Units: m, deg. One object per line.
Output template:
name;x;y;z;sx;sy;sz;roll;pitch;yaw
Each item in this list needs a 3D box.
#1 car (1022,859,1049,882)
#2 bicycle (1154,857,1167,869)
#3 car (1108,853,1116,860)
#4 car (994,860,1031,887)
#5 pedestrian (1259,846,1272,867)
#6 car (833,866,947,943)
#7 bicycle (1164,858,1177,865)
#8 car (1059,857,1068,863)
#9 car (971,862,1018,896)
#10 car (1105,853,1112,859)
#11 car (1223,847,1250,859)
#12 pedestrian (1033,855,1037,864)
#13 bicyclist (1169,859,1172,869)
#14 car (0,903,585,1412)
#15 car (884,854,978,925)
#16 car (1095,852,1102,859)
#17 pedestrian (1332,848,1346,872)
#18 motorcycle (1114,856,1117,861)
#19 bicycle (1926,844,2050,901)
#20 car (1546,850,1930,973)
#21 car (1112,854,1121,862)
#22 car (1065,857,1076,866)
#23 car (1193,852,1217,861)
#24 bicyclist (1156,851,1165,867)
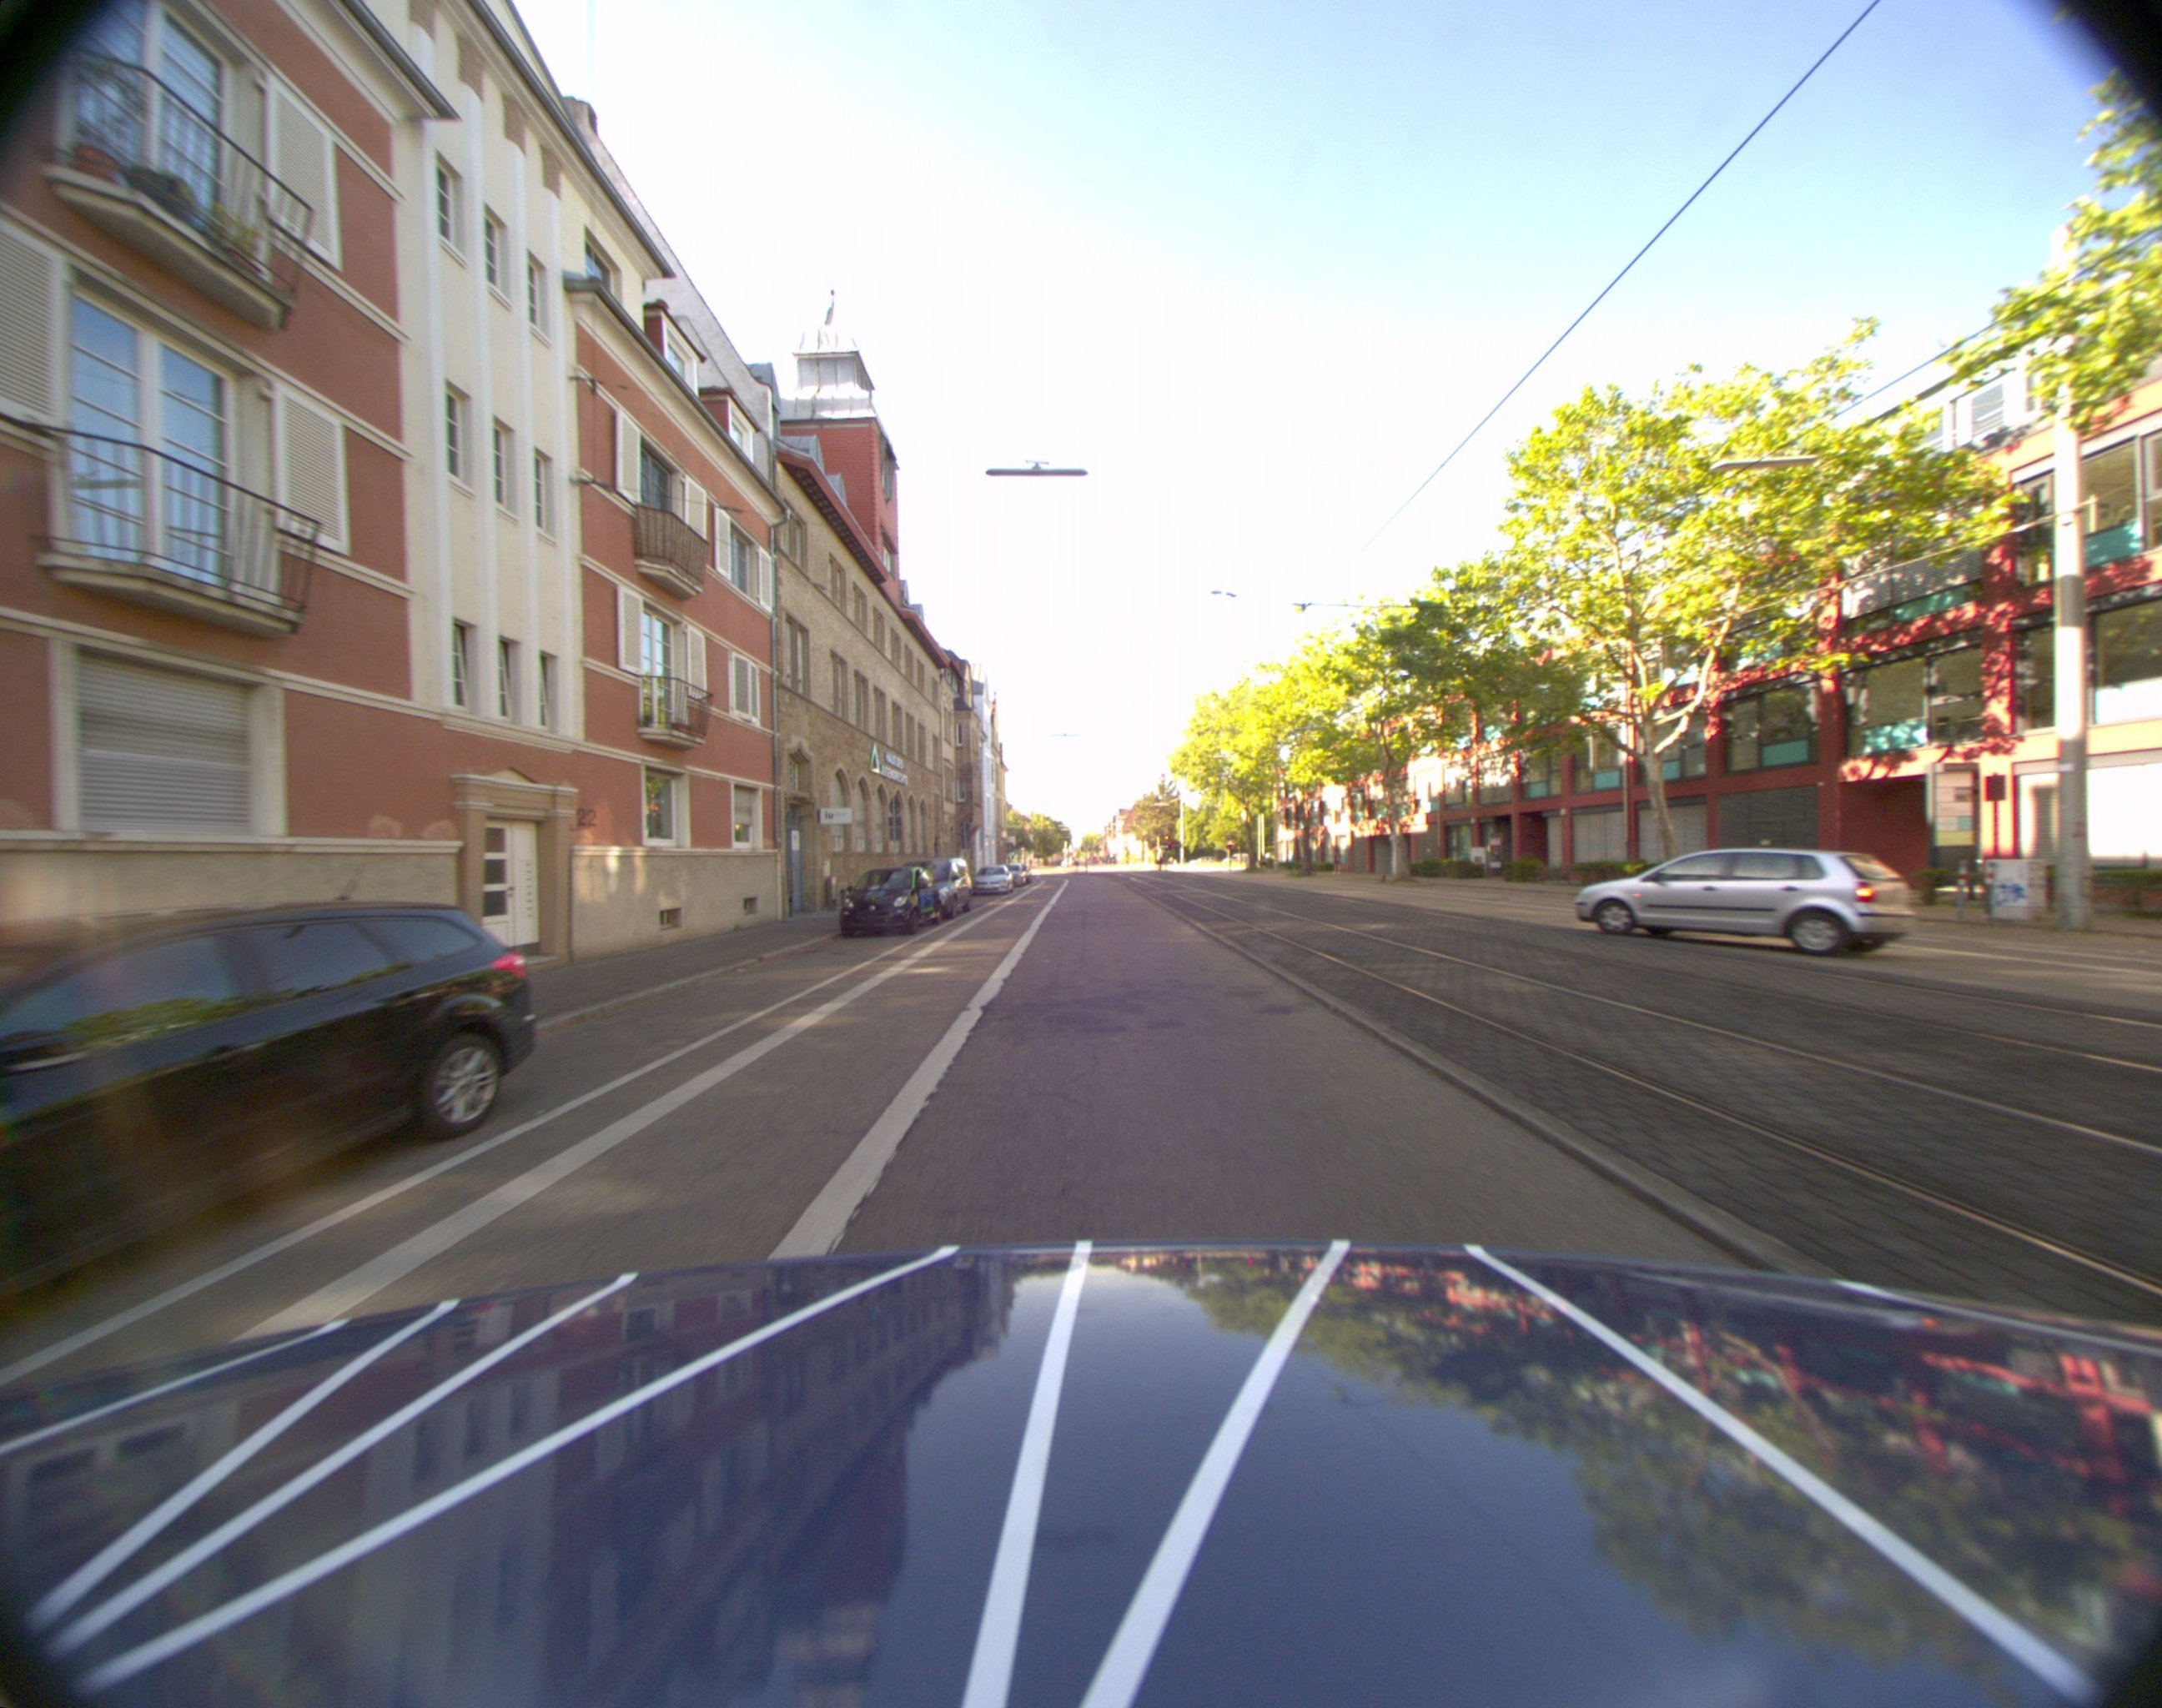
car;-3.184;1.161;53.693;1.659;1.474;4.000;-2;0;0
bicycle;8.430;0.964;80.192;0.632;1.123;2.037;-3;3;25
car;8.397;0.765;206.624;1.924;1.704;4.000;-3;0;1
car;-4.298;1.197;48.067;1.757;1.492;4.196;-3;0;2
pedestrian;18.194;0.253;75.055;0.913;2.002;0.780;-3;0;-8
car;-4.441;1.114;18.202;1.635;1.502;3.717;-3;0;1
bicycle;15.416;1.335;131.169;2.284;1.111;0.930;-1;0;8
car;-4.402;1.479;189.180;1.704;1.541;4.002;-3;0;5
car;-4.254;1.187;37.876;1.718;1.492;4.226;-3;0;0
car;8.341;0.668;227.726;1.923;1.555;4.001;-3;0;4
car;27.216;-0.178;132.834;4.311;1.856;1.817;-1;0;3
pedestrian;-8.561;1.061;141.925;0.655;1.664;0.943;0;0;2
bicyclist;15.458;1.736;131.160;0.559;1.613;0.899;-1;0;8
car;-4.535;1.153;3.244;1.758;1.502;4.761;-3;0;-2
car;-4.346;0.951;22.727;1.757;1.844;4.815;-2;0;0
car;5.237;0.583;225.049;2.024;2.001;5.252;0;-1;3
pedestrian;18.555;0.427;54.712;0.627;1.708;0.900;-3;1;-1
motorcycle;8.012;1.074;176.907;0.605;1.040;2.437;-3;0;2
bicycle;21.899;0.442;18.367;2.066;1.265;0.618;-3;0;4
car;9.709;0.706;11.638;1.761;1.509;4.061;0;0;-28
car;8.964;0.982;192.006;1.923;1.890;4.001;-3;0;3
car;-2.211;1.600;160.758;1.923;1.704;4.001;-3;0;3
car;21.288;0.438;130.448;3.995;1.425;1.817;-1;0;6
bicyclist;8.381;0.500;80.157;0.605;1.682;0.934;-3;0;25
